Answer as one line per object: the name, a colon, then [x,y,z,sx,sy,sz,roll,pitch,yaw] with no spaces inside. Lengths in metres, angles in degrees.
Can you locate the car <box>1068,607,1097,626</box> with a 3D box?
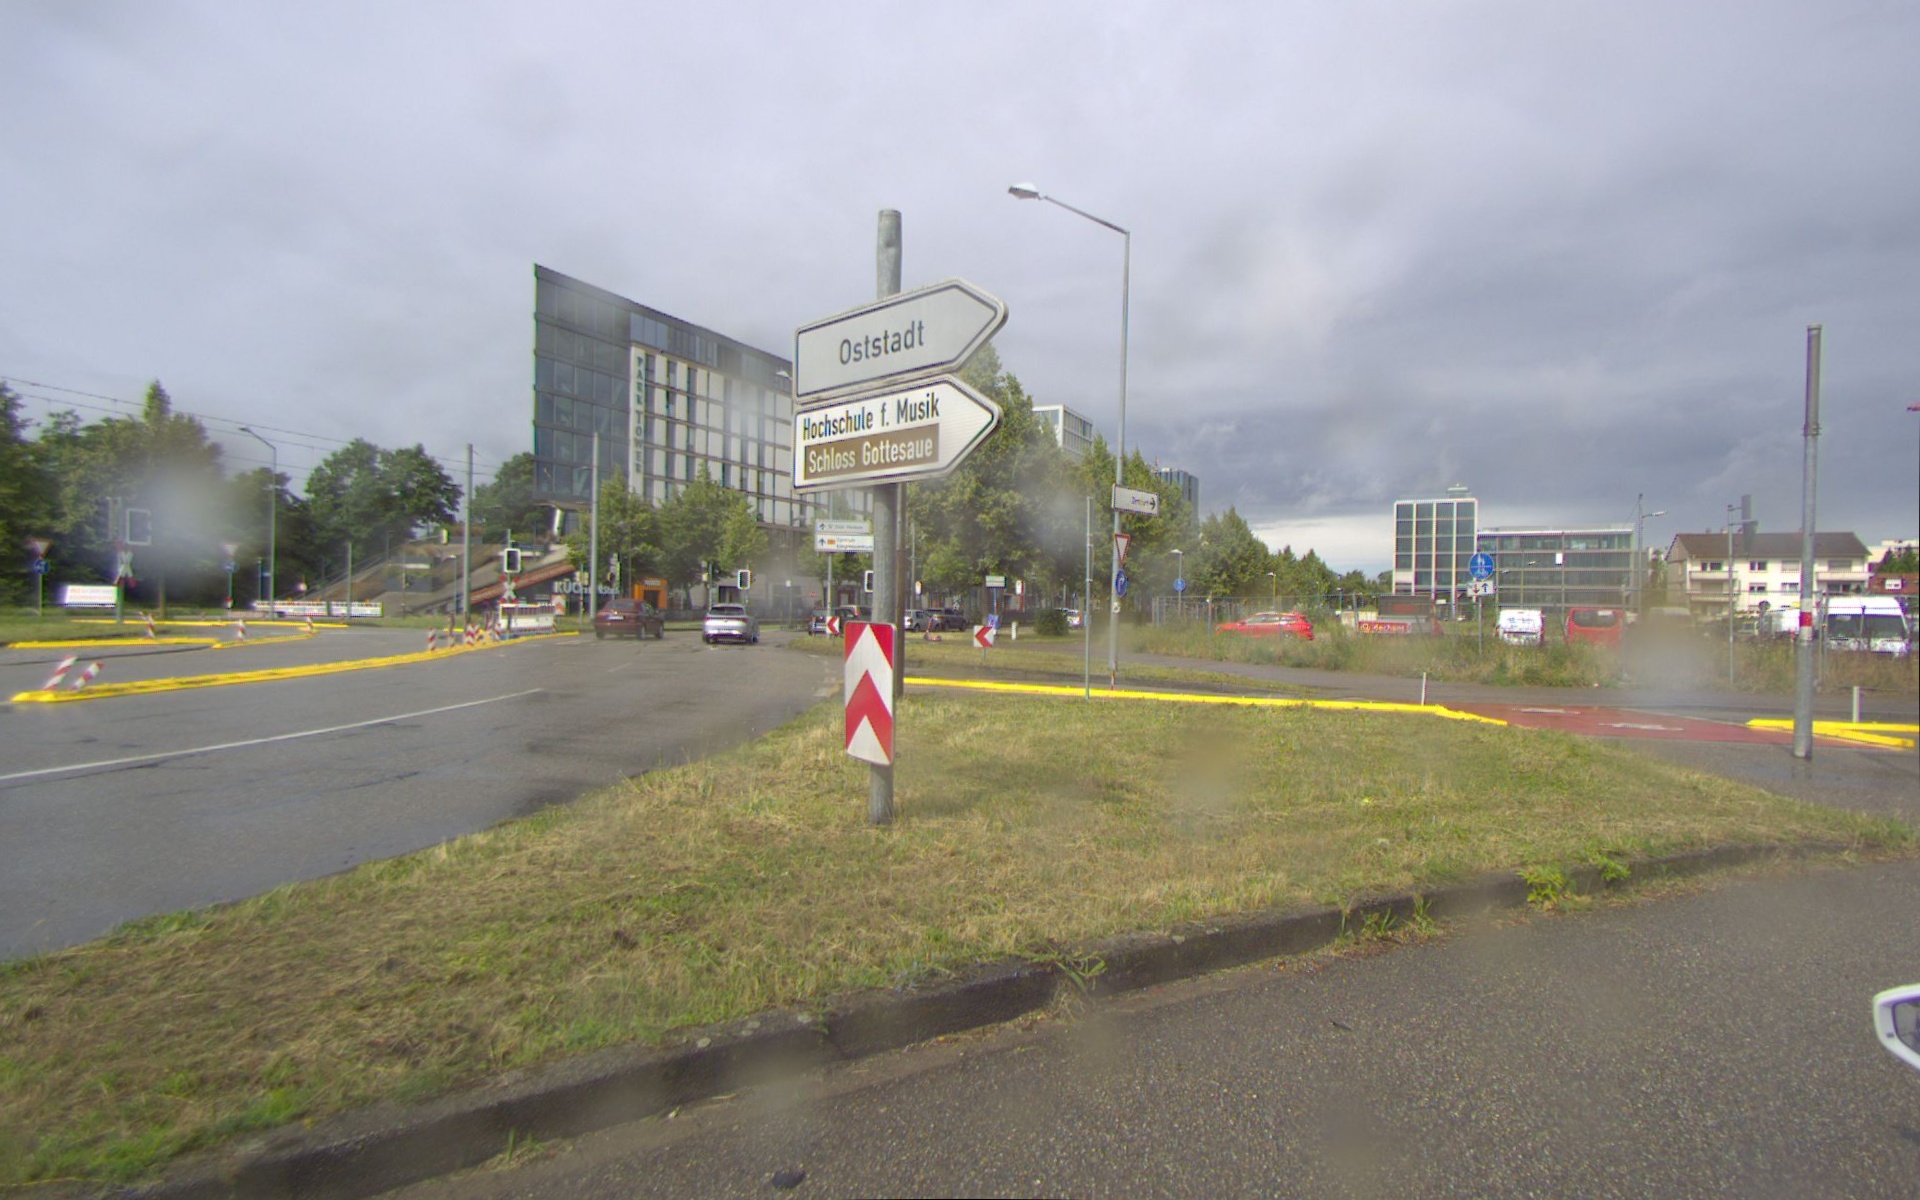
car: [10.235,1.358,83.506,1.471,1.530,3.499,2,0,22]

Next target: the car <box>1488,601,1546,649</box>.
car: [22.636,0.960,40.943,1.823,1.723,3.995,1,2,26]

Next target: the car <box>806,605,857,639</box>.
car: [-6.278,1.060,49.400,1.518,1.581,3.502,1,0,10]

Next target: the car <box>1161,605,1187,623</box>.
car: [25.643,1.708,120.163,1.964,2.040,3.993,1,0,29]

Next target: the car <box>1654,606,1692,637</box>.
car: [55.848,1.652,78.670,2.342,2.113,4.952,1,2,36]

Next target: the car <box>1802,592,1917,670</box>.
car: [28.518,0.873,32.052,2.009,2.113,6.243,2,2,36]

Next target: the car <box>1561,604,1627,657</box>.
car: [23.418,1.071,37.201,1.896,1.723,3.991,1,2,30]

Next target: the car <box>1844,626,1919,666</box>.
car: [53.889,2.647,58.648,1.960,2.152,4.000,1,0,19]

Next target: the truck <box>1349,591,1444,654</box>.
truck: [17.788,0.807,40.739,2.358,2.241,6.080,1,2,35]

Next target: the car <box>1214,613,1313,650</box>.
car: [13.697,1.386,45.366,4.112,1.531,1.856,0,2,24]

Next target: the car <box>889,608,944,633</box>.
car: [-2.534,1.199,59.210,1.671,1.386,3.843,1,0,25]

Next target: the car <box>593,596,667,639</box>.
car: [-11.921,0.644,36.517,1.687,1.482,3.997,1,-1,-5]

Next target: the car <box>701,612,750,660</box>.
car: [-8.392,1.261,36.119,1.572,1.581,3.542,0,0,-12]
